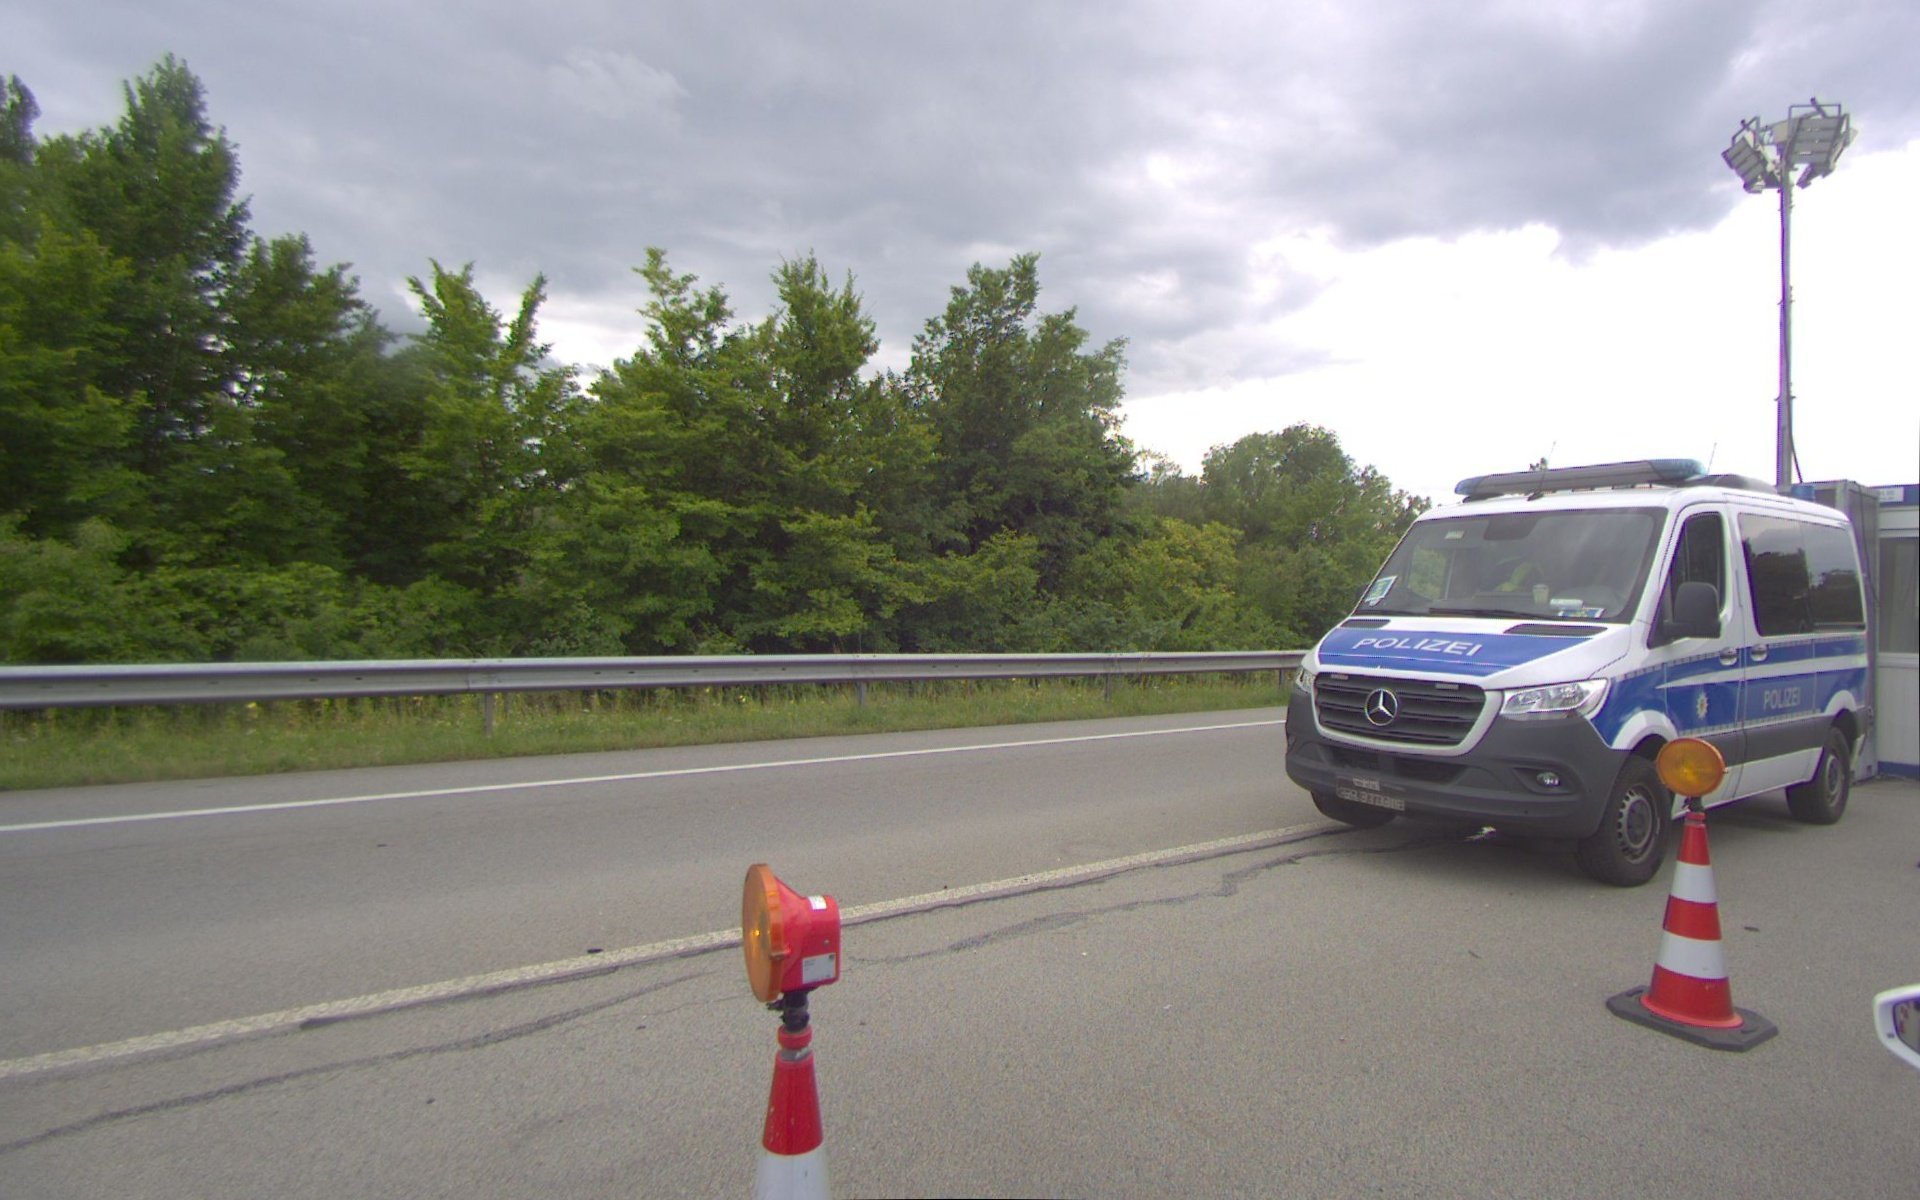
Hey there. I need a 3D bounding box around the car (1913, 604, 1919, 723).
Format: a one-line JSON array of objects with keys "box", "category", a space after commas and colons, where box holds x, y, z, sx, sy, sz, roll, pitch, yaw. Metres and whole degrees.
[{"box": [16.335, 0.988, 15.330, 3.968, 1.767, 1.856, 1, 0, -35], "category": "car"}]

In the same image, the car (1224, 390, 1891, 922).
[{"box": [4.411, 0.301, 7.051, 5.226, 2.496, 2.016, 1, 0, -35], "category": "car"}]
